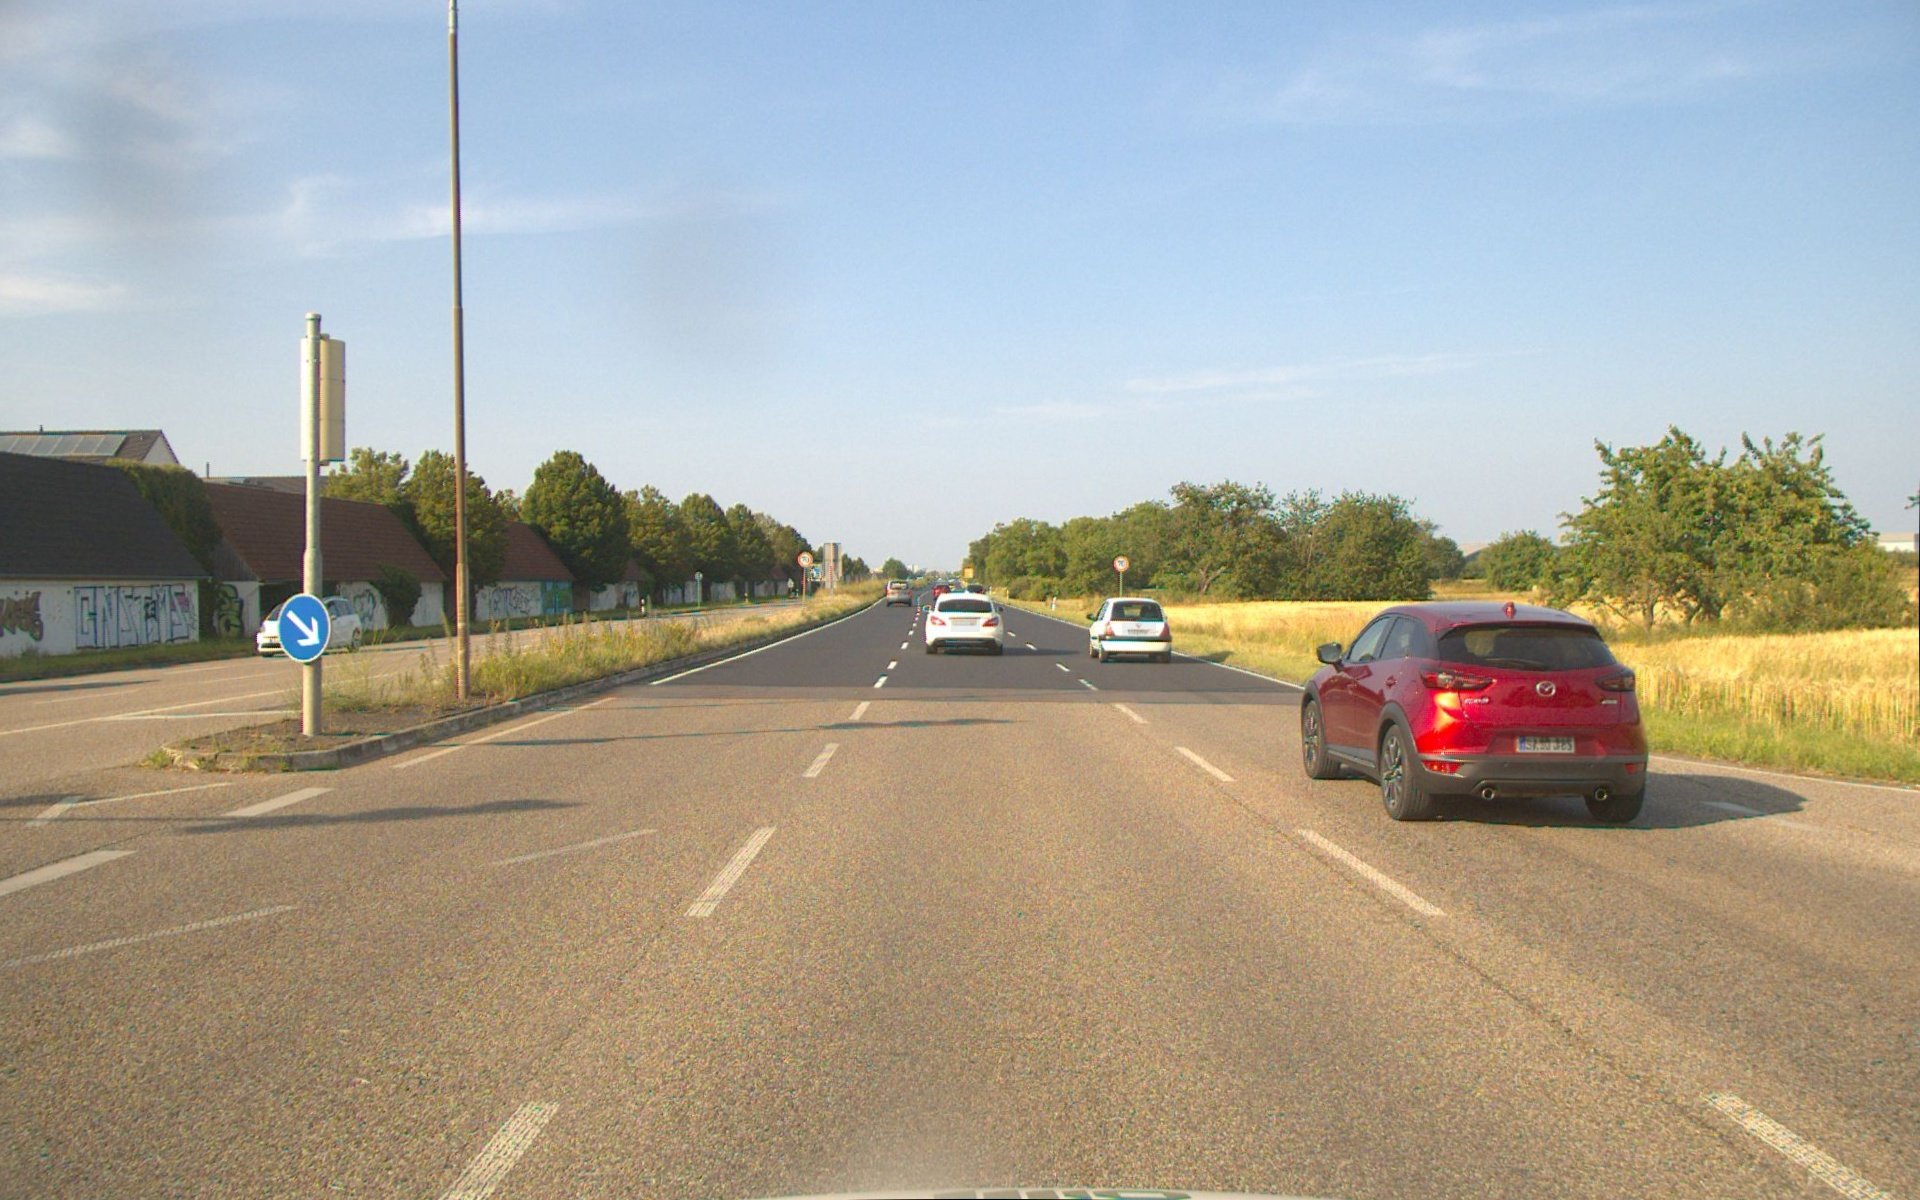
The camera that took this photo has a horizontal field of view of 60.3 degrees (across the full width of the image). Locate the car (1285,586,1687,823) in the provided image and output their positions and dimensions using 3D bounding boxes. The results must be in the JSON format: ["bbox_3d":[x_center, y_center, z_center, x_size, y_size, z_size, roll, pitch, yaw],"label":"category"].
[{"bbox_3d":[3.888,0.693,13.074,1.669,1.532,4.500,1,0,-1],"label":"car"}]

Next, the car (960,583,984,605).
[{"bbox_3d":[0.944,-0.481,133.810,1.791,1.758,3.999,1,0,-1],"label":"car"}]

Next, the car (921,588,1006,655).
[{"bbox_3d":[0.062,0.502,40.188,1.953,1.543,3.999,1,0,-1],"label":"car"}]

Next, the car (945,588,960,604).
[{"bbox_3d":[-0.879,-0.475,202.182,1.766,1.937,3.559,1,0,0],"label":"car"}]

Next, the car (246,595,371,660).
[{"bbox_3d":[-19.430,0.795,49.588,1.799,1.736,4.757,-3,0,0],"label":"car"}]

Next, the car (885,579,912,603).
[{"bbox_3d":[-4.440,-0.638,120.224,1.722,1.646,4.000,1,0,1],"label":"car"}]

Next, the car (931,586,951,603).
[{"bbox_3d":[-1.787,-0.508,154.575,1.775,1.461,3.857,1,0,-1],"label":"car"}]

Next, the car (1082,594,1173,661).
[{"bbox_3d":[3.742,0.598,37.446,1.584,1.411,3.950,1,0,-1],"label":"car"}]
